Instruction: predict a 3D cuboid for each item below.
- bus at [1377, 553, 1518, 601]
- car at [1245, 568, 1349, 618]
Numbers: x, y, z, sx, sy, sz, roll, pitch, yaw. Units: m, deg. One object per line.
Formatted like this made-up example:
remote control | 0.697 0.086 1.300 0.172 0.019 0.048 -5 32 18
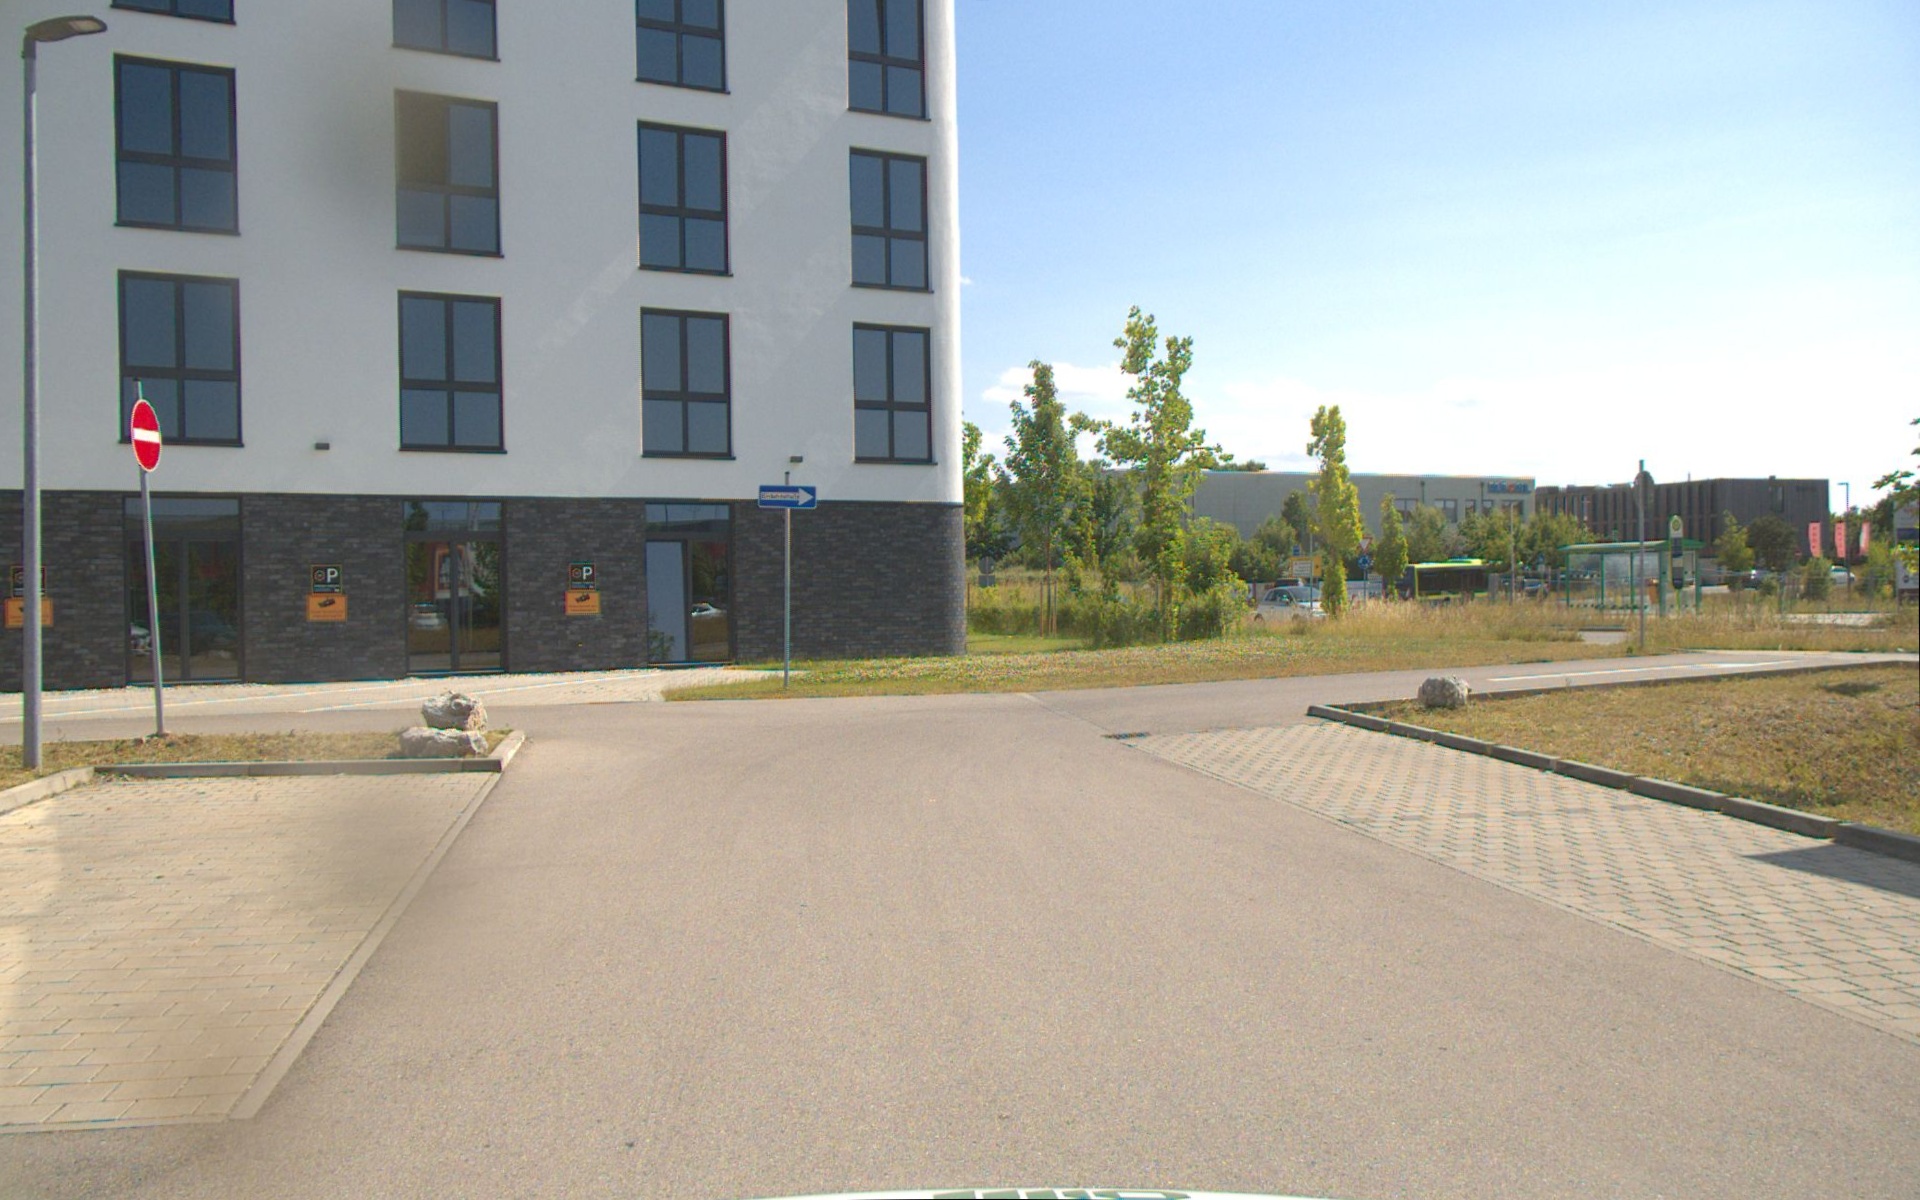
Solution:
bus | 30.773 -1.475 103.954 11.459 2.783 2.544 -2 1 -40
car | 11.029 -0.261 54.299 1.709 1.578 3.763 0 1 -19
